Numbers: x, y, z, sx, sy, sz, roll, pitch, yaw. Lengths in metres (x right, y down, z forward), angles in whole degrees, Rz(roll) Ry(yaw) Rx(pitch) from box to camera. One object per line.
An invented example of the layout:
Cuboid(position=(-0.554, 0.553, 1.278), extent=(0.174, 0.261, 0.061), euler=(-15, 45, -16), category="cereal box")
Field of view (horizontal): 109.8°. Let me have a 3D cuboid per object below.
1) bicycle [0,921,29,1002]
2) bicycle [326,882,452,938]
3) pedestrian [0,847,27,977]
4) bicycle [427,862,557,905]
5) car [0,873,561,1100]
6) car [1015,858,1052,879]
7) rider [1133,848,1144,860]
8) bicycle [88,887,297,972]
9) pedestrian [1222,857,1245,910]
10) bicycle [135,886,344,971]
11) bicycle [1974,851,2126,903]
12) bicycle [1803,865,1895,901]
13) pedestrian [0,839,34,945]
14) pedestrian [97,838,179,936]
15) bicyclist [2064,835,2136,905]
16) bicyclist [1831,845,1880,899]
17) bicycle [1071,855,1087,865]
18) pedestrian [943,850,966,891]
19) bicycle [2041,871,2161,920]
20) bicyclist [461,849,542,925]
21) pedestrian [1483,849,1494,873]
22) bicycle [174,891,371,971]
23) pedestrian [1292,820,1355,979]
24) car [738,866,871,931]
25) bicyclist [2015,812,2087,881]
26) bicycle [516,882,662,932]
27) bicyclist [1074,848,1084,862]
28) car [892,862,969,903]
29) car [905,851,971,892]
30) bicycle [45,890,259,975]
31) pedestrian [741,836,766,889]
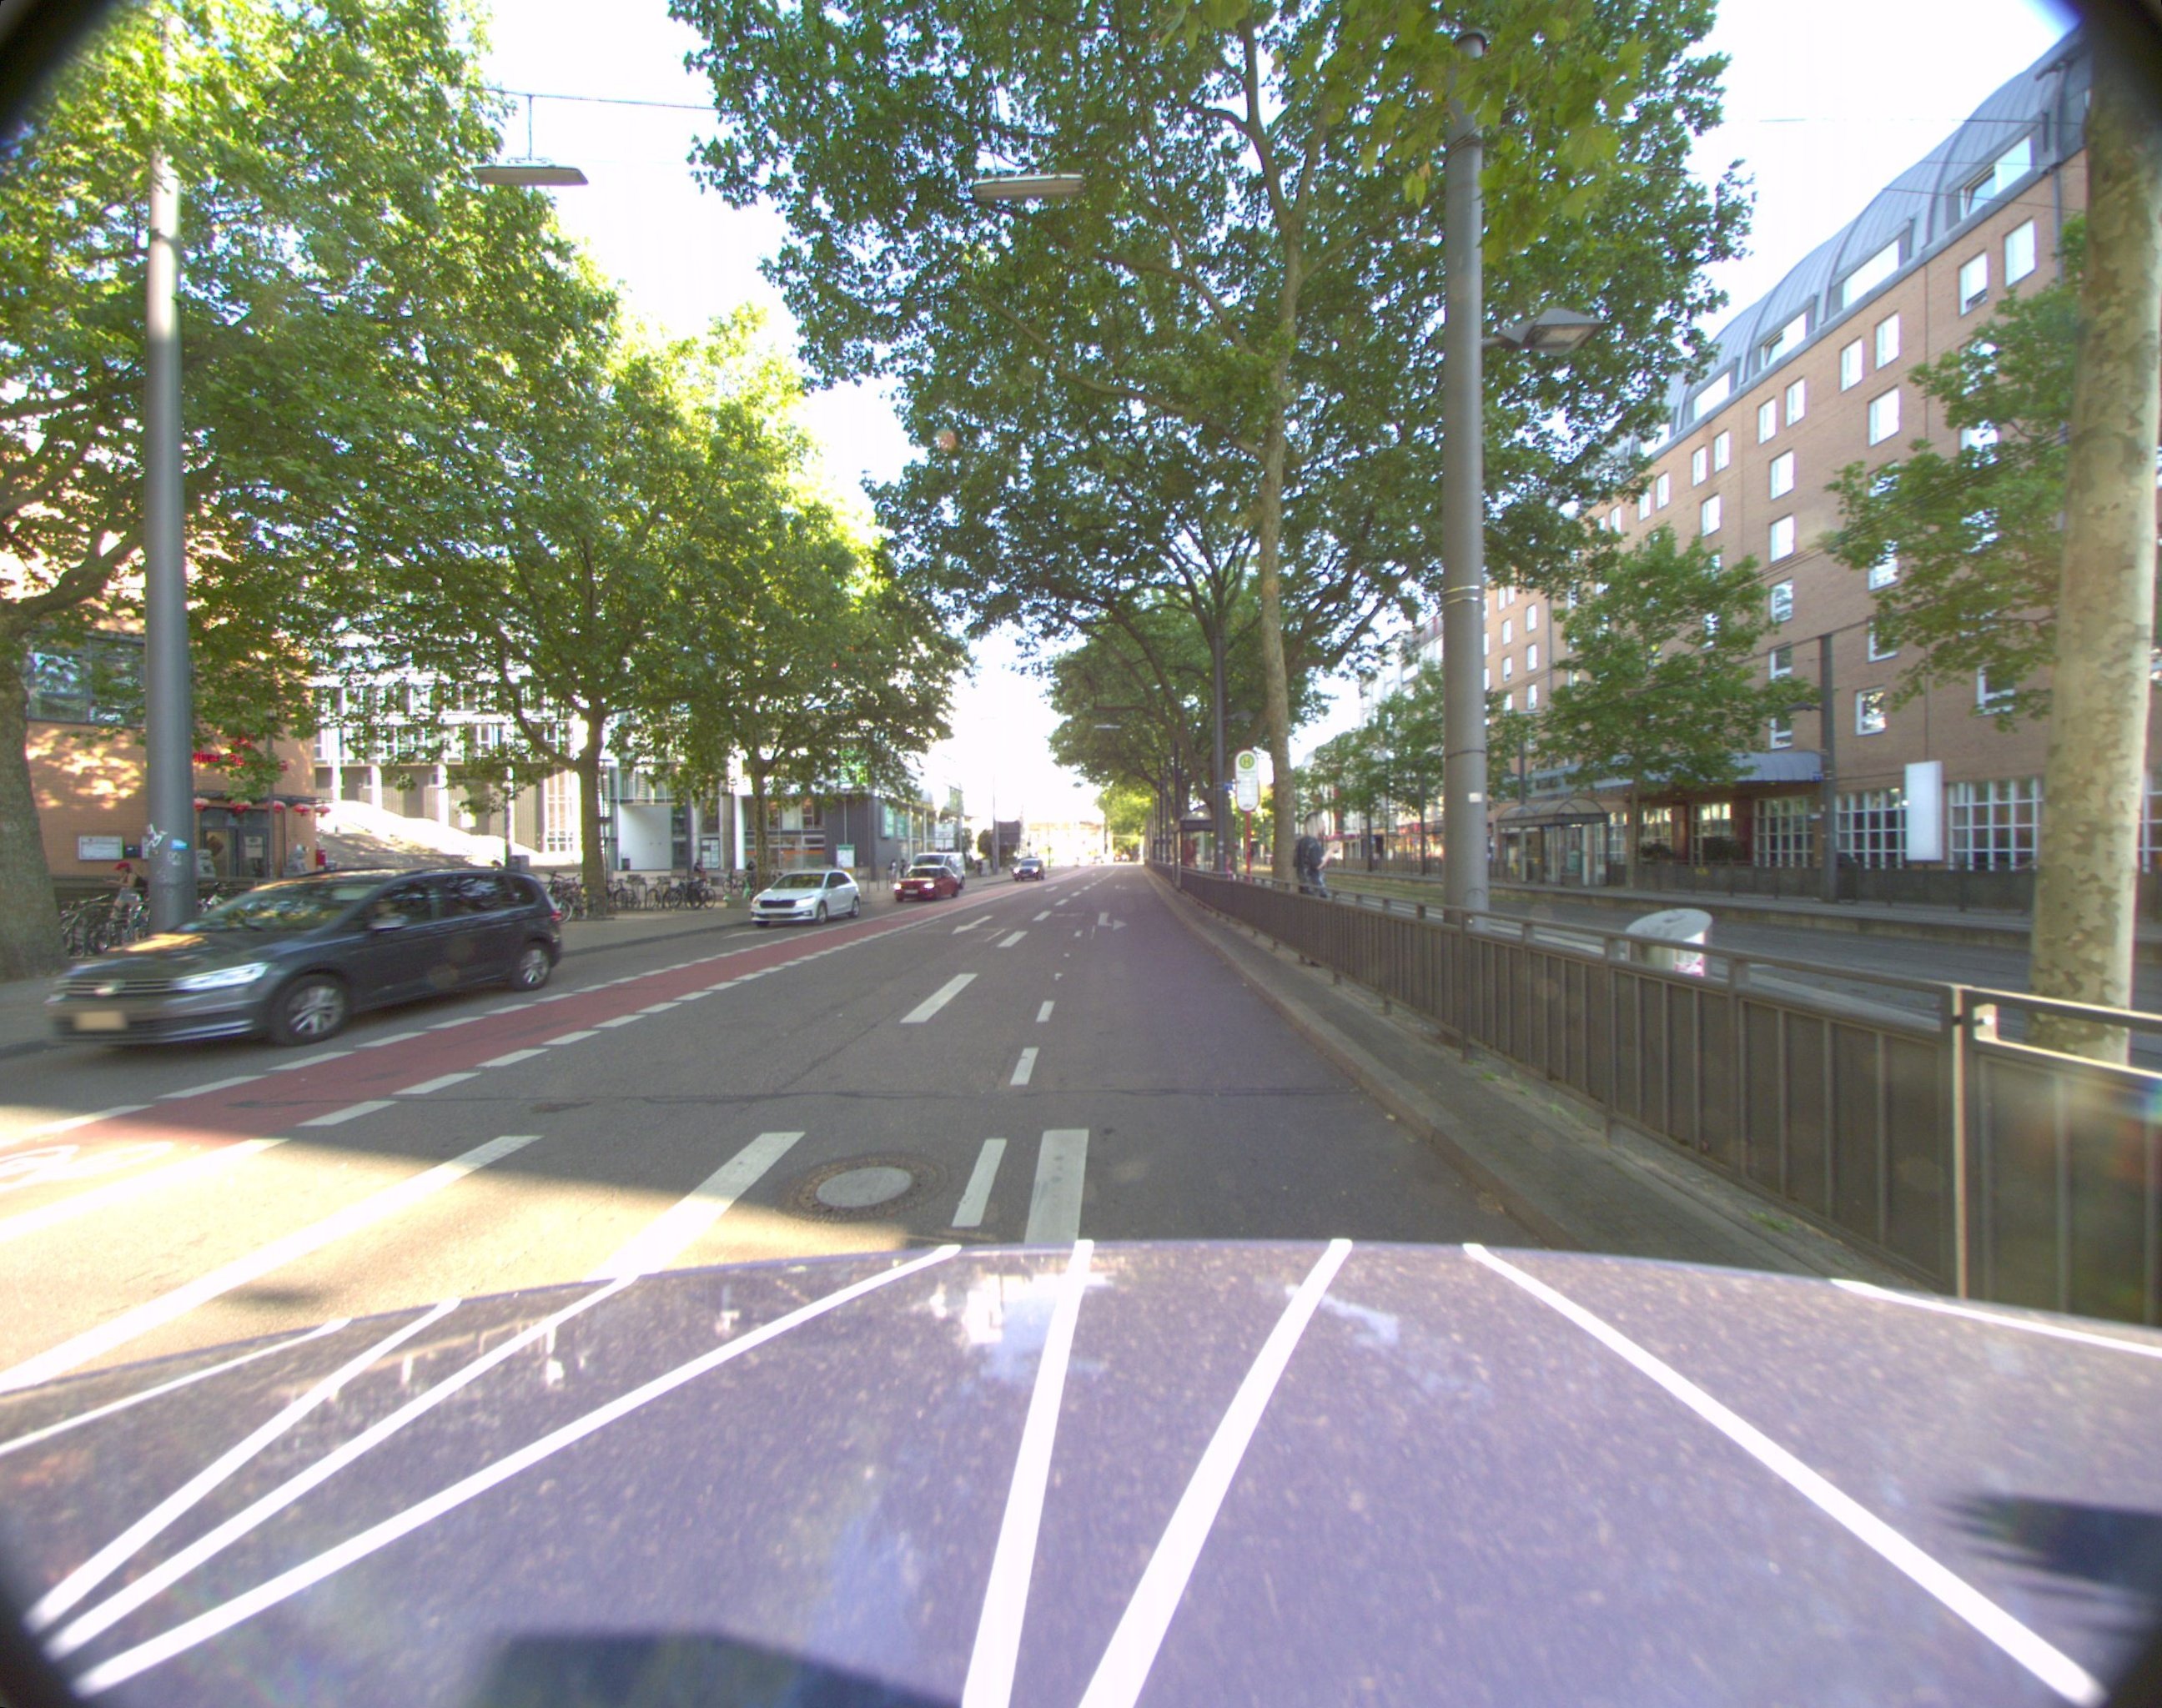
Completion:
Cuboid(position=(-13.393, 1.323, 7.988), extent=(0.925, 0.943, 2.637), euler=(-2, 1, 1), category="bicycle")
Cuboid(position=(-17.840, 1.401, 19.711), extent=(0.699, 1.193, 2.700), euler=(-2, 1, 1), category="bicycle")
Cuboid(position=(-17.078, 0.894, 11.457), extent=(0.934, 2.002, 1.091), euler=(-1, 1, -25), category="pedestrian")
Cuboid(position=(-16.244, 0.781, 20.965), extent=(3.328, 1.077, 1.150), euler=(0, 1, 18), category="bicycle")
Cuboid(position=(-7.918, 1.101, 8.211), extent=(1.710, 1.626, 4.389), euler=(-2, 0, -3), category="car")
Cuboid(position=(-3.601, 1.085, 58.425), extent=(1.784, 1.481, 4.198), euler=(-3, 0, 10), category="car")
Cuboid(position=(9.955, 0.022, 131.902), extent=(1.241, 2.002, 1.230), euler=(-1, 1, 43), category="rider")
Cuboid(position=(-14.829, 1.216, 12.814), extent=(0.671, 1.155, 2.305), euler=(-2, 1, 3), category="bicycle")
Cuboid(position=(3.937, 0.752, 19.597), extent=(0.542, 1.310, 0.524), euler=(-2, 1, 12), category="pedestrian")
Cuboid(position=(-14.055, 1.194, 12.842), extent=(0.751, 1.155, 2.398), euler=(-2, 1, 2), category="bicycle")
Cuboid(position=(22.460, 0.533, 17.696), extent=(0.687, 1.135, 2.110), euler=(0, -2, -6), category="bicycle")
Cuboid(position=(22.777, 0.841, 22.582), extent=(0.696, 0.992, 1.900), euler=(-1, 0, -6), category="bicycle")
Cuboid(position=(-23.618, 0.833, 16.309), extent=(1.048, 2.235, 1.221), euler=(-1, 1, 38), category="pedestrian")
Cuboid(position=(-22.088, 0.763, 17.809), extent=(0.842, 2.220, 0.905), euler=(-2, 1, 22), category="pedestrian")
Cuboid(position=(23.439, 0.360, 17.491), extent=(0.662, 1.565, 0.758), euler=(-1, 1, -7), category="bicyclist")
Cuboid(position=(22.784, 0.521, 22.352), extent=(0.662, 1.560, 0.758), euler=(-1, 1, -7), category="bicyclist")
Cuboid(position=(-0.234, 0.819, 109.730), extent=(0.948, 1.460, 2.711), euler=(0, 0, 34), category="bicycle")
Cuboid(position=(-6.405, 0.840, 38.587), extent=(0.815, 2.001, 0.979), euler=(-2, 0, 10), category="pedestrian")
Cuboid(position=(23.467, 0.919, 17.324), extent=(0.655, 0.992, 1.900), euler=(-1, 0, -6), category="bicycle")
Cuboid(position=(-15.916, 0.879, 20.899), extent=(1.296, 2.002, 1.158), euler=(-1, 1, 17), category="bicyclist")
Cuboid(position=(29.506, 0.509, 55.080), extent=(0.504, 1.725, 0.574), euler=(-1, 1, 3), category="pedestrian")
Cuboid(position=(-13.267, 1.215, 12.614), extent=(0.682, 1.054, 2.337), euler=(-1, 1, 2), category="bicycle")
Cuboid(position=(2.870, 0.523, 9.020), extent=(0.543, 1.823, 0.524), euler=(-2, 1, 4), category="pedestrian")
Cuboid(position=(-7.459, 1.152, 20.980), extent=(1.835, 1.481, 4.196), euler=(-2, 0, 4), category="car")
Cuboid(position=(22.463, -0.154, 17.607), extent=(0.684, 1.550, 0.758), euler=(0, -1, -7), category="bicyclist")
Cuboid(position=(-12.946, 1.364, 20.192), extent=(0.975, 1.020, 3.208), euler=(-2, 1, 23), category="bicycle")
Cuboid(position=(-0.294, 0.089, 109.770), extent=(0.957, 2.002, 0.940), euler=(-2, 1, 31), category="bicyclist")
Cuboid(position=(-6.212, 1.146, 31.932), extent=(1.834, 1.481, 4.197), euler=(-3, 0, 8), category="car")
Cuboid(position=(-7.431, 0.868, 40.172), extent=(1.933, 1.953, 5.919), euler=(-2, 0, 4), category="car")
Cuboid(position=(-15.548, 1.272, 12.852), extent=(0.657, 1.155, 2.293), euler=(-2, 1, 3), category="bicycle")
Cuboid(position=(-16.928, 0.432, 39.253), extent=(0.981, 2.633, 0.900), euler=(-3, 1, -31), category="pedestrian")
